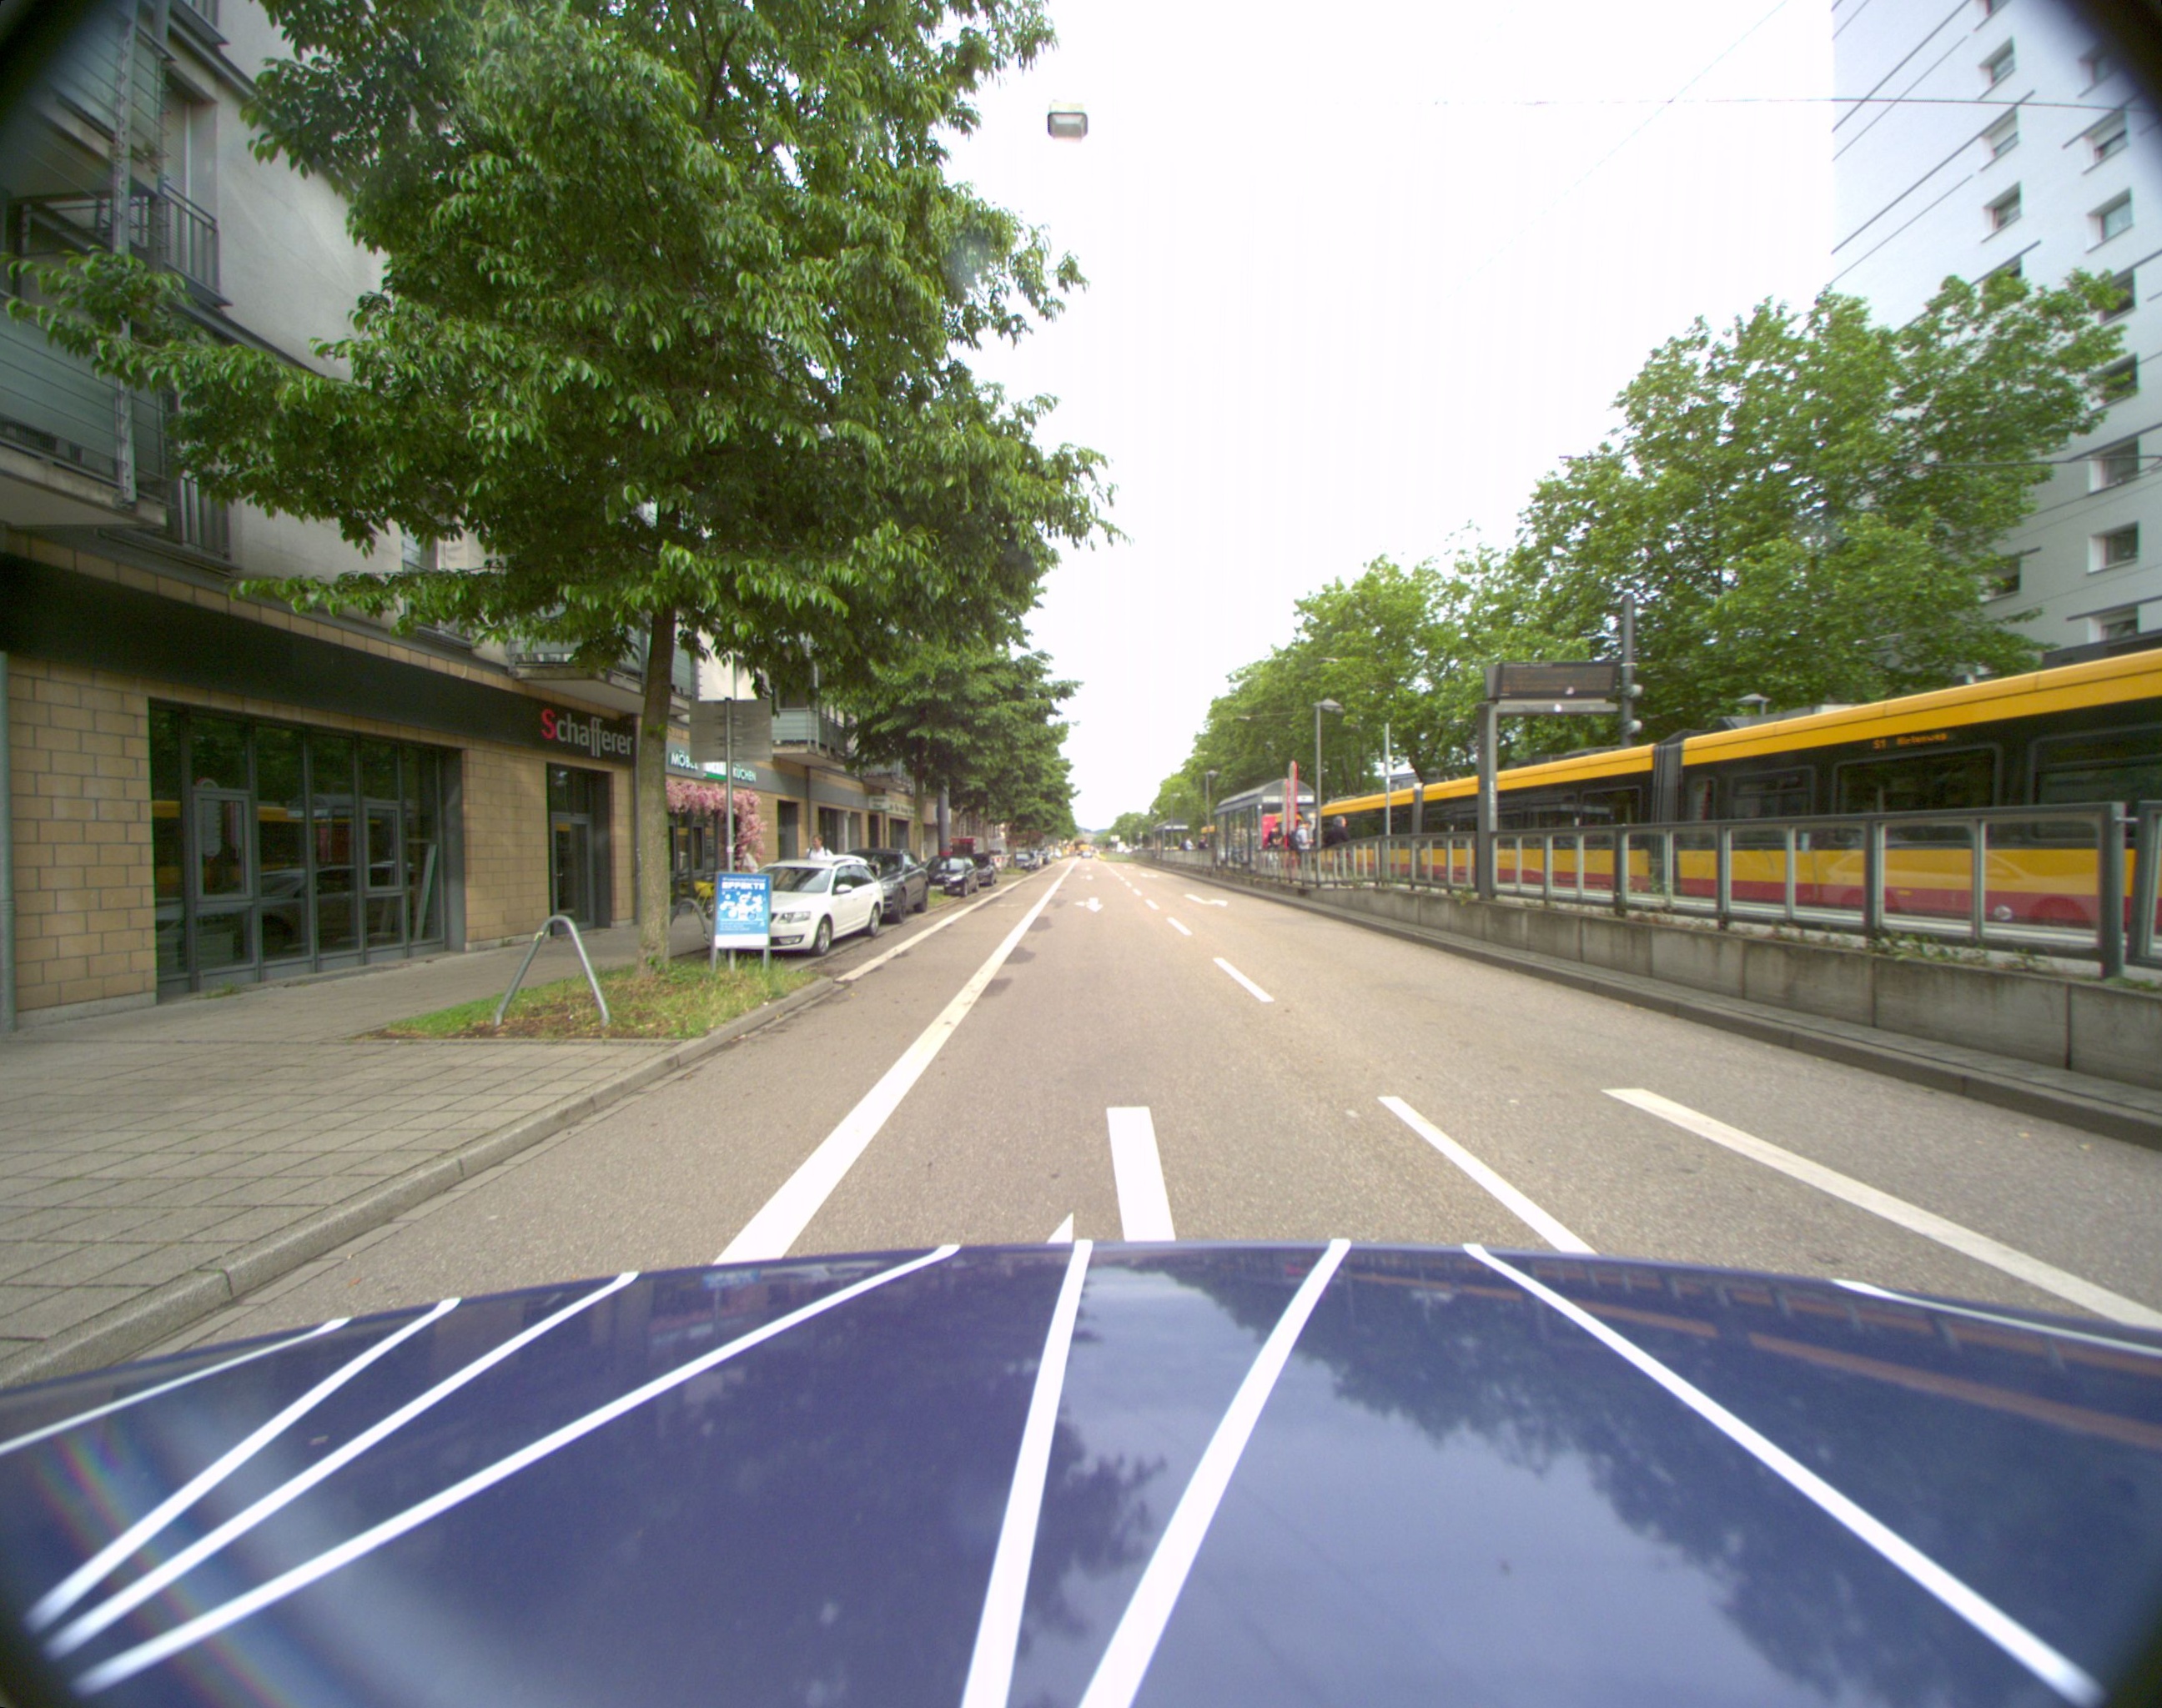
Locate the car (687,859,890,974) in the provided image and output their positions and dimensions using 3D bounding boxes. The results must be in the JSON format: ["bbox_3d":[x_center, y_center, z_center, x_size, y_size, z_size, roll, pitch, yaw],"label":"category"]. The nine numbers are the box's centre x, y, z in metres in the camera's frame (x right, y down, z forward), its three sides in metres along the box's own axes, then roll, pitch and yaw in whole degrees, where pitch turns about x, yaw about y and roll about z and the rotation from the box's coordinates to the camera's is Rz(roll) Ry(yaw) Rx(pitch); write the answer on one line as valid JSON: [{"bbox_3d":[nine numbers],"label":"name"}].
[{"bbox_3d":[-4.724,0.904,13.008,1.738,1.512,4.308,2,1,1],"label":"car"}]

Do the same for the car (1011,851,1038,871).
[{"bbox_3d":[-4.171,0.486,56.182,1.612,1.393,3.667,2,1,1],"label":"car"}]

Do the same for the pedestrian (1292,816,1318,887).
[{"bbox_3d":[5.749,-0.061,19.555,0.475,1.794,0.605,-2,1,5],"label":"pedestrian"}]

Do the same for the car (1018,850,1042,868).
[{"bbox_3d":[-4.130,0.371,62.171,1.612,1.393,3.667,2,1,1],"label":"car"}]

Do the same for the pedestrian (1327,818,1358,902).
[{"bbox_3d":[5.701,0.123,16.587,0.521,1.794,0.605,-2,1,13],"label":"pedestrian"}]

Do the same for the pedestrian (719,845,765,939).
[{"bbox_3d":[-6.327,0.685,14.160,0.739,1.707,0.616,0,1,-28],"label":"pedestrian"}]

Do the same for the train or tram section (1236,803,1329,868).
[{"bbox_3d":[13.221,-1.178,51.016,3.338,3.731,11.042,-2,1,1],"label":"train or tram section"}]

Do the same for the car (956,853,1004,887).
[{"bbox_3d":[-4.562,0.689,34.744,1.612,1.393,3.667,2,1,1],"label":"car"}]

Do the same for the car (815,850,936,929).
[{"bbox_3d":[-4.720,0.745,18.010,1.738,1.601,3.798,2,1,1],"label":"car"}]

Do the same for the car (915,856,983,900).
[{"bbox_3d":[-4.642,0.798,27.282,1.612,1.369,4.167,2,1,1],"label":"car"}]

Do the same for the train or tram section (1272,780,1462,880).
[{"bbox_3d":[13.042,-1.019,37.385,3.338,3.731,16.247,-2,1,1],"label":"train or tram section"}]

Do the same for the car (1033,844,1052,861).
[{"bbox_3d":[-3.969,-0.133,78.228,1.612,1.674,3.806,2,1,1],"label":"car"}]

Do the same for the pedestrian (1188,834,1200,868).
[{"bbox_3d":[6.135,-0.174,41.347,0.530,1.794,0.606,-2,1,14],"label":"pedestrian"}]

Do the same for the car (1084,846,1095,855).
[{"bbox_3d":[1.507,-0.647,133.384,1.716,1.379,4.099,-2,1,1],"label":"car"}]

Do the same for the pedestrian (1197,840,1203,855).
[{"bbox_3d":[15.960,-0.849,101.978,0.719,2.002,0.756,-1,1,1],"label":"pedestrian"}]

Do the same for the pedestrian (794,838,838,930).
[{"bbox_3d":[-5.472,0.607,15.706,0.656,1.873,0.599,-1,1,1],"label":"pedestrian"}]

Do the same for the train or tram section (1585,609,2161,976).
[{"bbox_3d":[12.680,-0.689,9.066,3.338,3.731,15.202,-2,1,1],"label":"train or tram section"}]

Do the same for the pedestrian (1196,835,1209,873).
[{"bbox_3d":[5.842,0.004,36.530,0.530,1.794,0.606,-2,1,14],"label":"pedestrian"}]

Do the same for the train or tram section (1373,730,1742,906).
[{"bbox_3d":[12.873,-0.852,22.947,3.338,3.731,12.547,-2,1,1],"label":"train or tram section"}]

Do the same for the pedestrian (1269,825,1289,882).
[{"bbox_3d":[6.308,-0.024,24.206,0.474,1.794,0.606,-2,1,26],"label":"pedestrian"}]

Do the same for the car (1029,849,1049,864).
[{"bbox_3d":[-3.975,0.216,72.458,1.612,1.393,3.667,2,1,1],"label":"car"}]
